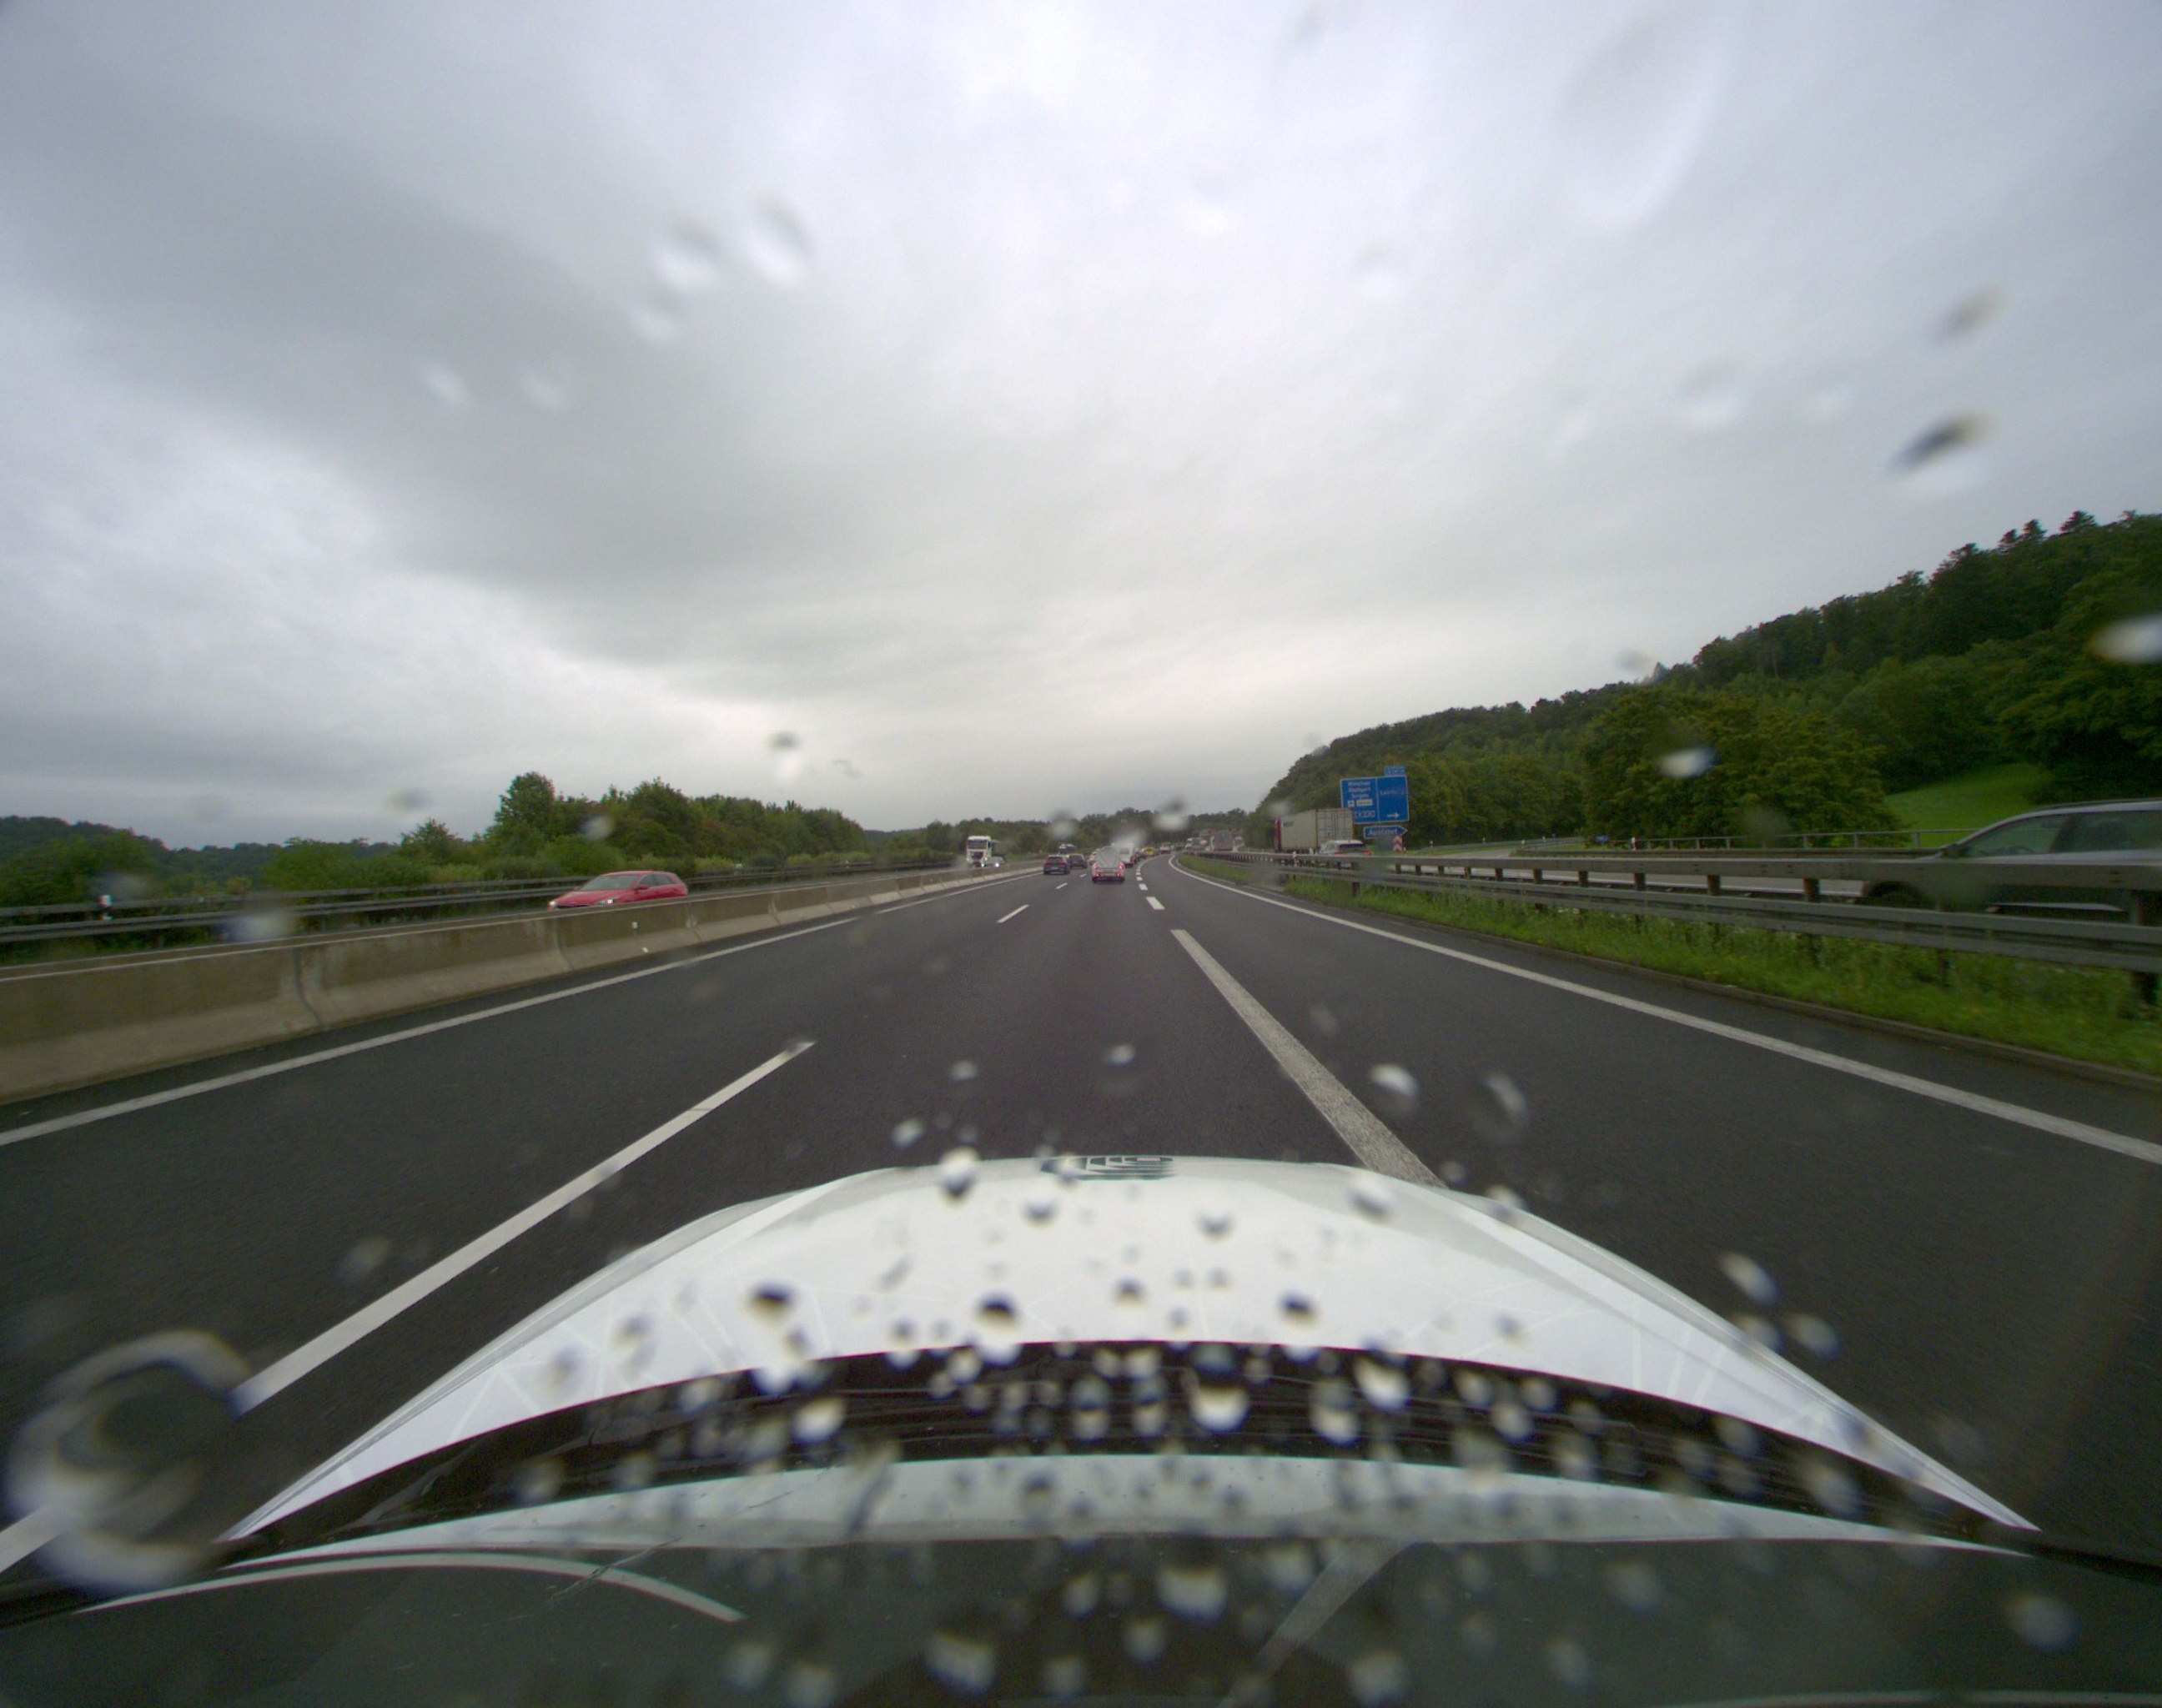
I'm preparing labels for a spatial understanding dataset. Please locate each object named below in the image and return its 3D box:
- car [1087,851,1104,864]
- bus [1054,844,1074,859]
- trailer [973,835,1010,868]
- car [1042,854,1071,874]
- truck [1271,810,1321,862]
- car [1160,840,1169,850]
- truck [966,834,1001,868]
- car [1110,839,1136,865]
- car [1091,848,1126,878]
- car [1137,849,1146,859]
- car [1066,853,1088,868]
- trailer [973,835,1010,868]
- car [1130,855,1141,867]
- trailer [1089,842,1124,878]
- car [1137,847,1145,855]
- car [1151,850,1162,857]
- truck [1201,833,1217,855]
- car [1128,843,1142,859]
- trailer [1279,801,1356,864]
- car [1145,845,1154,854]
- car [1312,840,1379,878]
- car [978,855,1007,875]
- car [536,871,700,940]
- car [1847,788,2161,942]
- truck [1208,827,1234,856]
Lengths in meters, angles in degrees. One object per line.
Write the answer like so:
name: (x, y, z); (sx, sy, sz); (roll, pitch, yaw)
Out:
car: (1.888, 0.419, 104.241); (1.767, 1.640, 4.049); (-2, 0, 5)
bus: (-3.478, -0.489, 170.877); (2.684, 2.958, 11.918); (-2, -1, 6)
trailer: (-10.833, -0.316, 99.331); (2.890, 3.749, 8.936); (-2, 0, 4)
car: (-1.815, 0.751, 61.866); (1.668, 1.456, 4.006); (-2, 0, 5)
truck: (17.096, -1.329, 65.123); (2.605, 3.884, 6.398); (-2, 0, 4)
car: (23.545, -2.595, 229.257); (2.503, 2.574, 5.321); (-2, 0, 6)
truck: (-11.148, -0.334, 94.050); (2.874, 3.749, 5.950); (-2, 0, 3)
car: (4.549, -0.216, 86.878); (2.495, 2.585, 5.708); (-2, 0, 5)
car: (1.659, 0.524, 47.212); (1.810, 1.616, 4.783); (-2, 0, 4)
car: (11.197, -0.040, 150.683); (1.668, 1.812, 4.004); (-2, 0, 4)
car: (-0.352, 0.675, 81.932); (1.757, 1.456, 4.006); (-2, 0, 5)
trailer: (-10.833, -0.316, 99.331); (2.890, 3.749, 8.936); (-2, 0, 4)
car: (8.297, 1.026, 124.157); (1.668, 1.812, 4.004); (-2, 0, 4)
trailer: (1.406, 0.324, 43.531); (1.668, 1.812, 4.004); (-2, 0, 4)
car: (15.693, -0.801, 213.096); (1.984, 2.013, 4.005); (-2, 0, 4)
car: (18.338, -0.064, 197.614); (2.024, 1.683, 4.013); (-2, 0, 11)
truck: (29.023, -2.235, 183.957); (3.196, 4.666, 13.067); (-2, 0, 10)
car: (7.000, -0.370, 105.570); (1.669, 2.067, 4.002); (-2, 0, 2)
trailer: (16.614, -1.350, 58.250); (2.593, 3.894, 12.503); (-2, 0, 4)
car: (15.045, -1.017, 178.272); (1.665, 1.812, 4.011); (-2, 0, 10)
car: (12.256, 0.225, 38.041); (1.763, 1.610, 4.646); (-2, 0, 2)
car: (-8.667, 1.042, 80.064); (1.886, 1.876, 4.548); (-2, 0, 4)
car: (-12.368, 1.313, 22.121); (1.801, 1.580, 4.358); (-2, 0, 2)
car: (10.516, 0.055, 8.264); (1.660, 1.382, 4.128); (-3, 0, 2)
truck: (24.113, -2.014, 141.045); (3.200, 4.666, 13.049); (-2, 0, 5)
